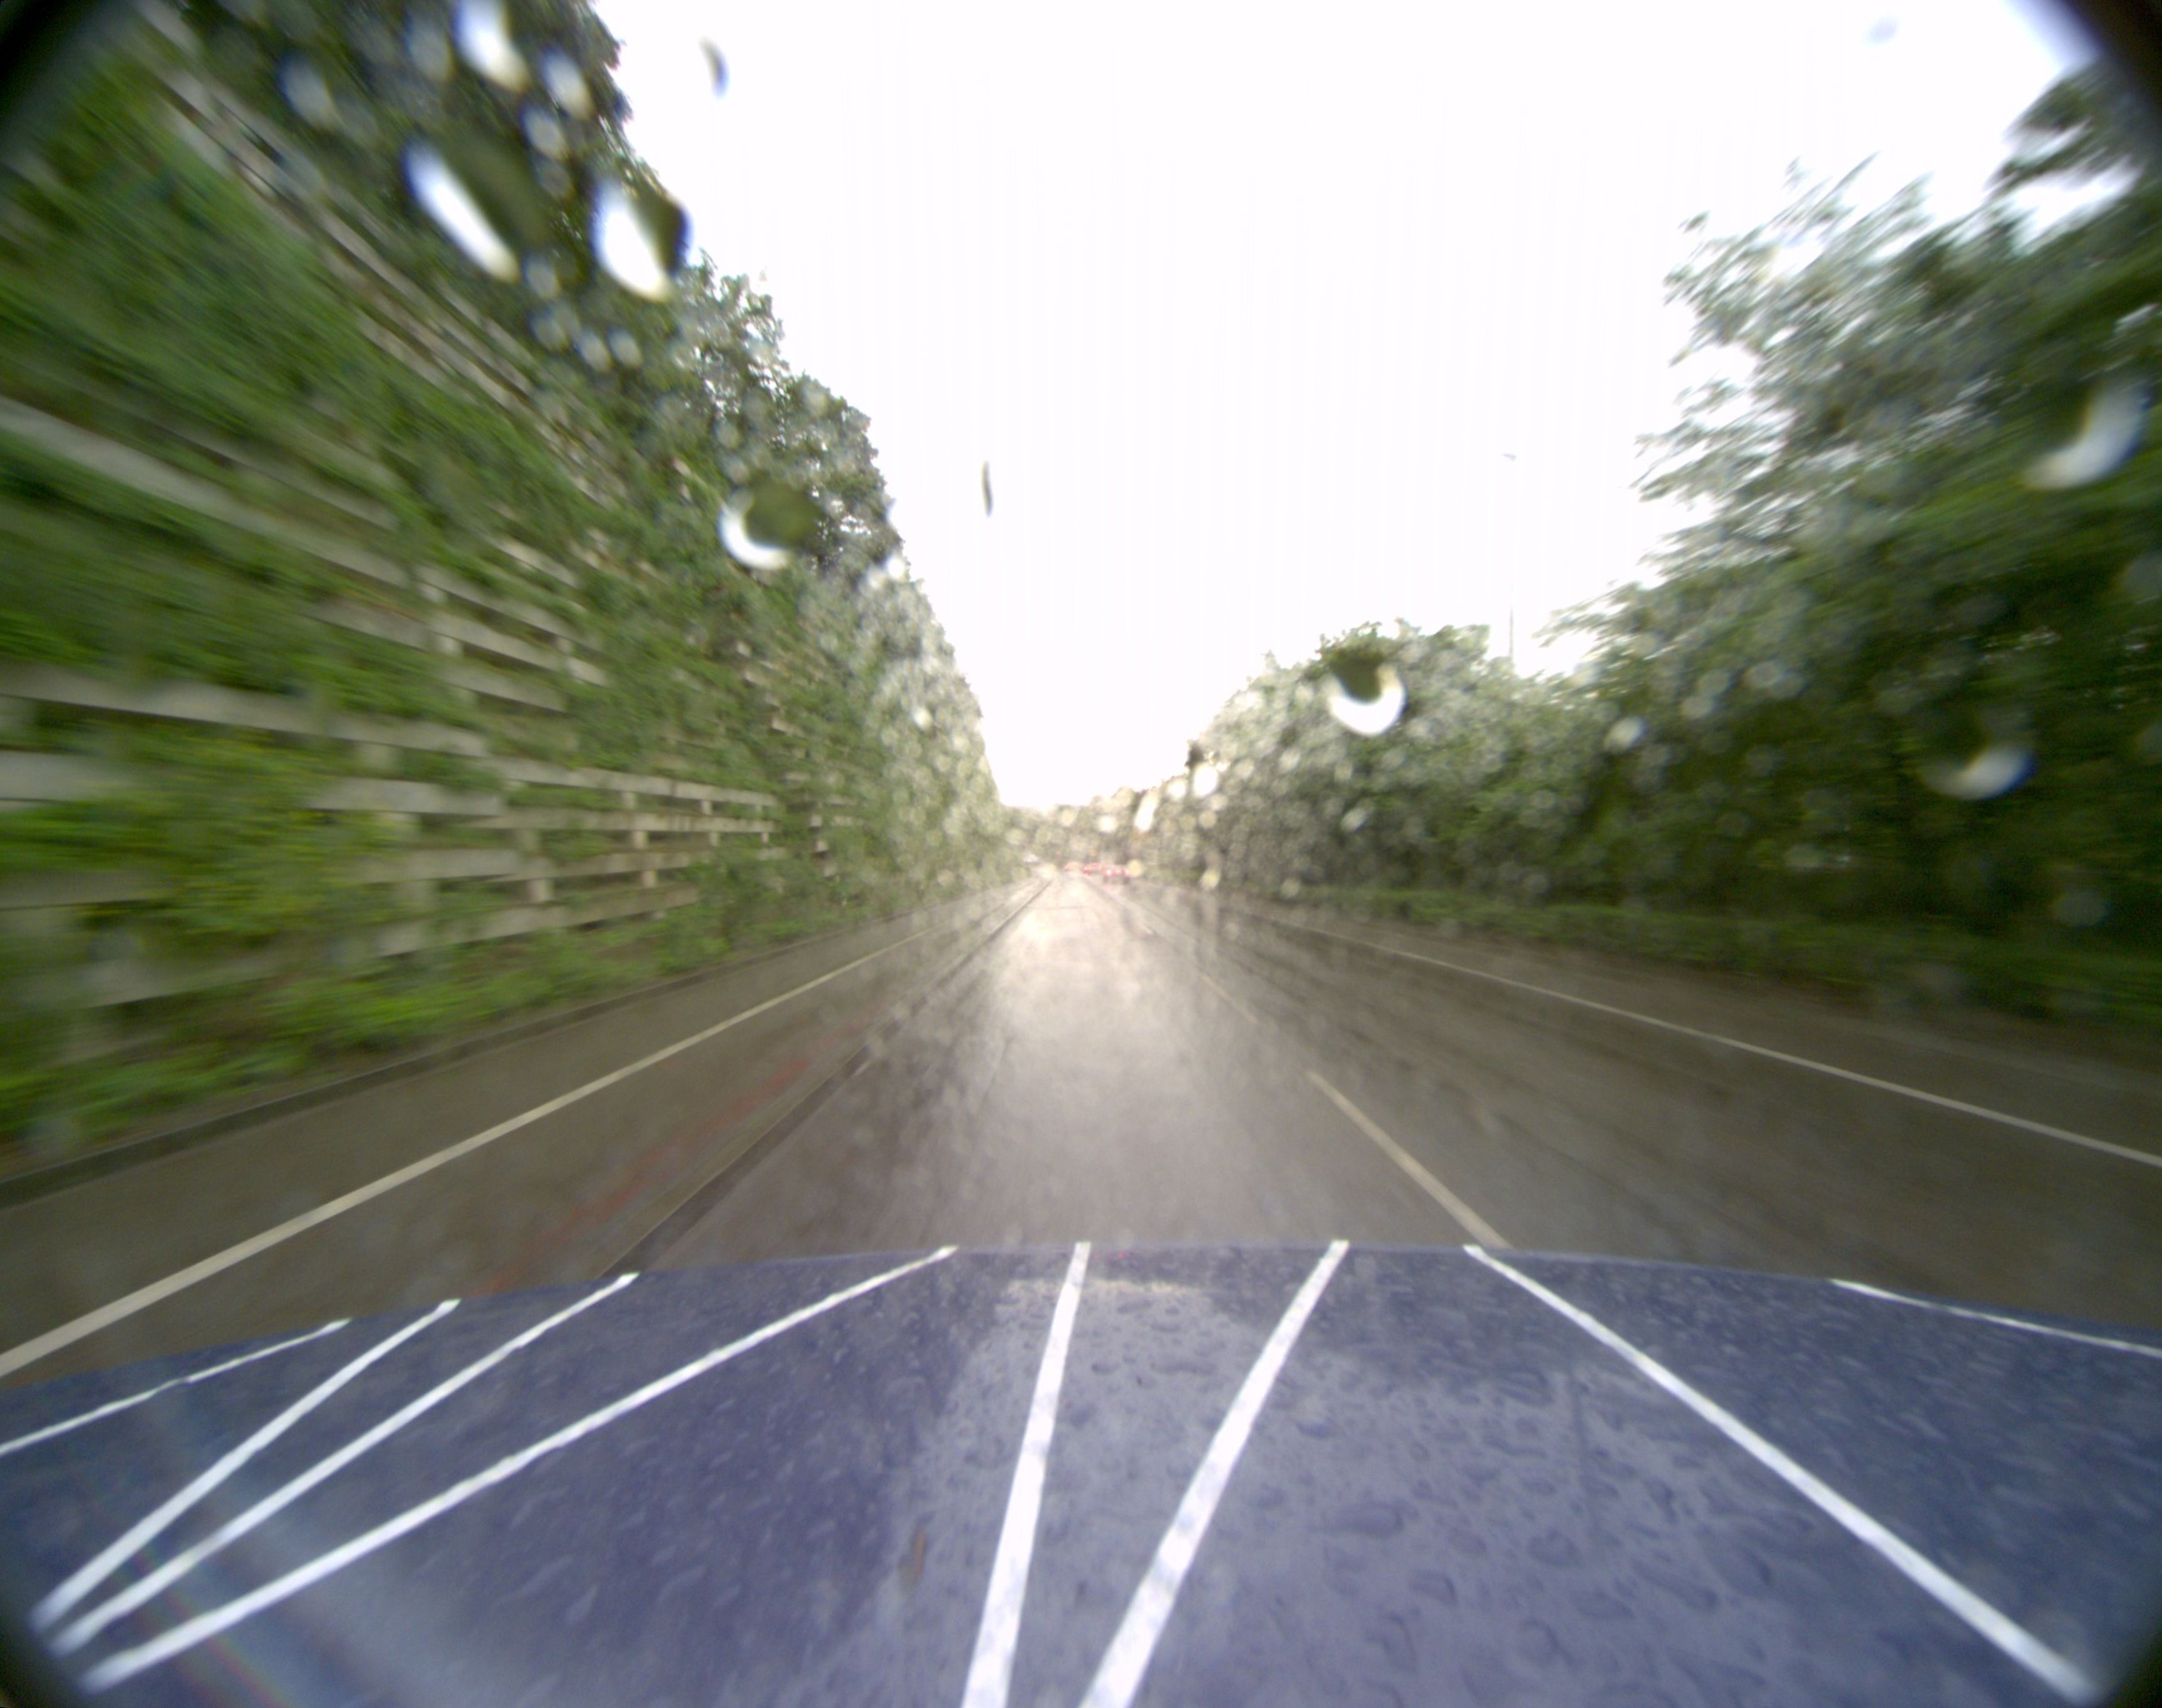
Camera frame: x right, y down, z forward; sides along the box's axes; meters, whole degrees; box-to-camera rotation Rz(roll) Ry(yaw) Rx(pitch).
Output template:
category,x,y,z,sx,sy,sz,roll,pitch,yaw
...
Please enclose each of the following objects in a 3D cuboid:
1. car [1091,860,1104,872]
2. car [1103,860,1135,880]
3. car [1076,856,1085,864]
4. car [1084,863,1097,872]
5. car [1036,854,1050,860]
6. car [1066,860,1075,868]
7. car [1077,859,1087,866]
category,x,y,z,sx,sy,sz,roll,pitch,yaw
car,2.357,1.742,108.146,1.827,1.605,4.094,-2,0,2
car,2.779,1.152,56.525,1.999,1.356,4.251,-2,0,-2
car,-0.059,1.276,158.996,1.819,1.648,4.050,-2,0,1
car,1.475,2.181,124.793,1.870,1.440,4.377,-1,0,-2
car,-10.871,0.865,217.609,3.824,1.559,1.773,2,1,-6
car,-2.284,2.020,159.873,1.737,1.608,4.000,-1,1,1
car,0.193,1.907,167.063,1.998,1.494,4.729,-2,0,1
